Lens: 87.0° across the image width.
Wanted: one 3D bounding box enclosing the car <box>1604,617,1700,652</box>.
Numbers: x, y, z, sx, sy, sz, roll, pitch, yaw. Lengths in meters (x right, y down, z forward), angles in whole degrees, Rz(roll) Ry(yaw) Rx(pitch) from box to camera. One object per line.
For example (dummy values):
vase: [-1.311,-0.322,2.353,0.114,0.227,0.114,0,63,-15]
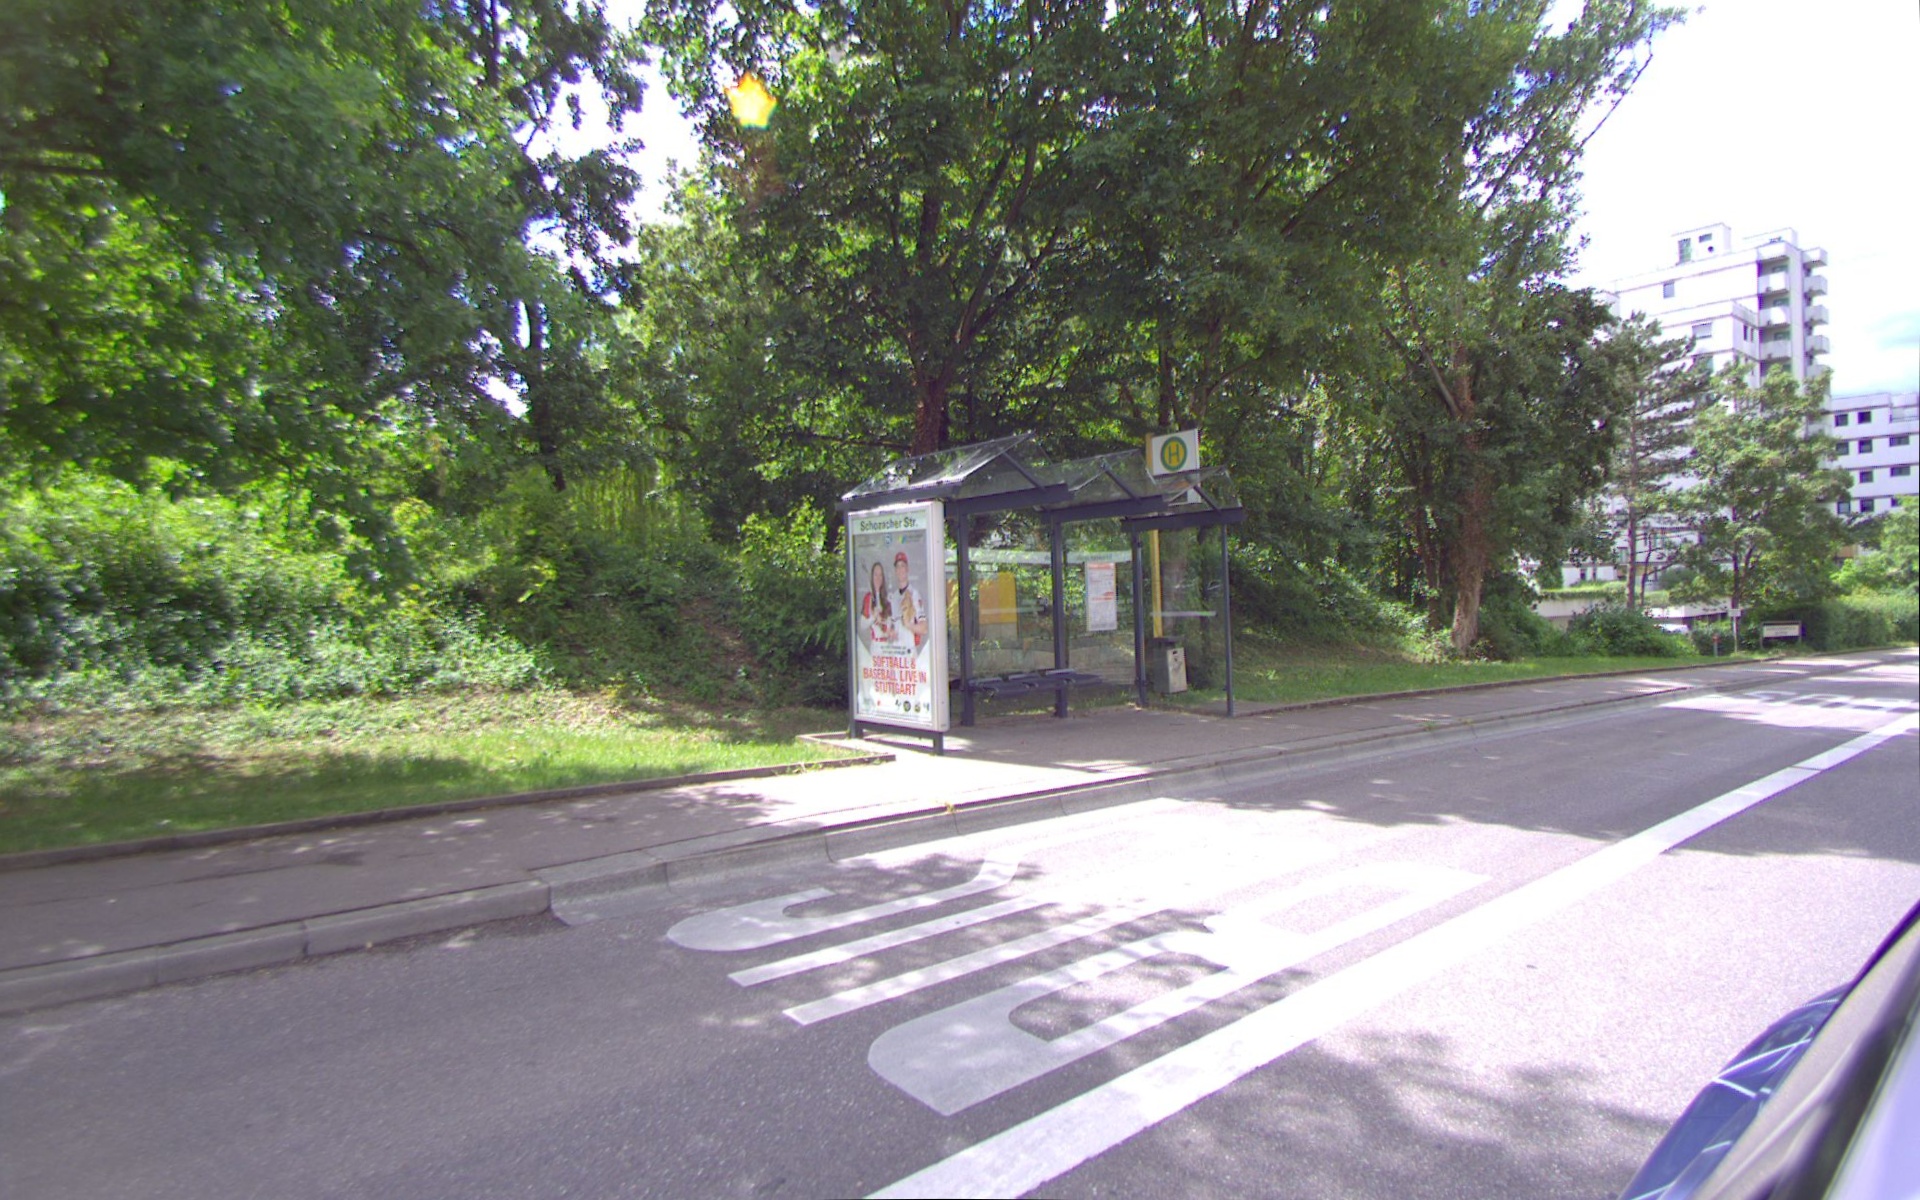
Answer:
car: [42.865,2.104,62.811,1.961,2.039,4.550,0,0,-34]
